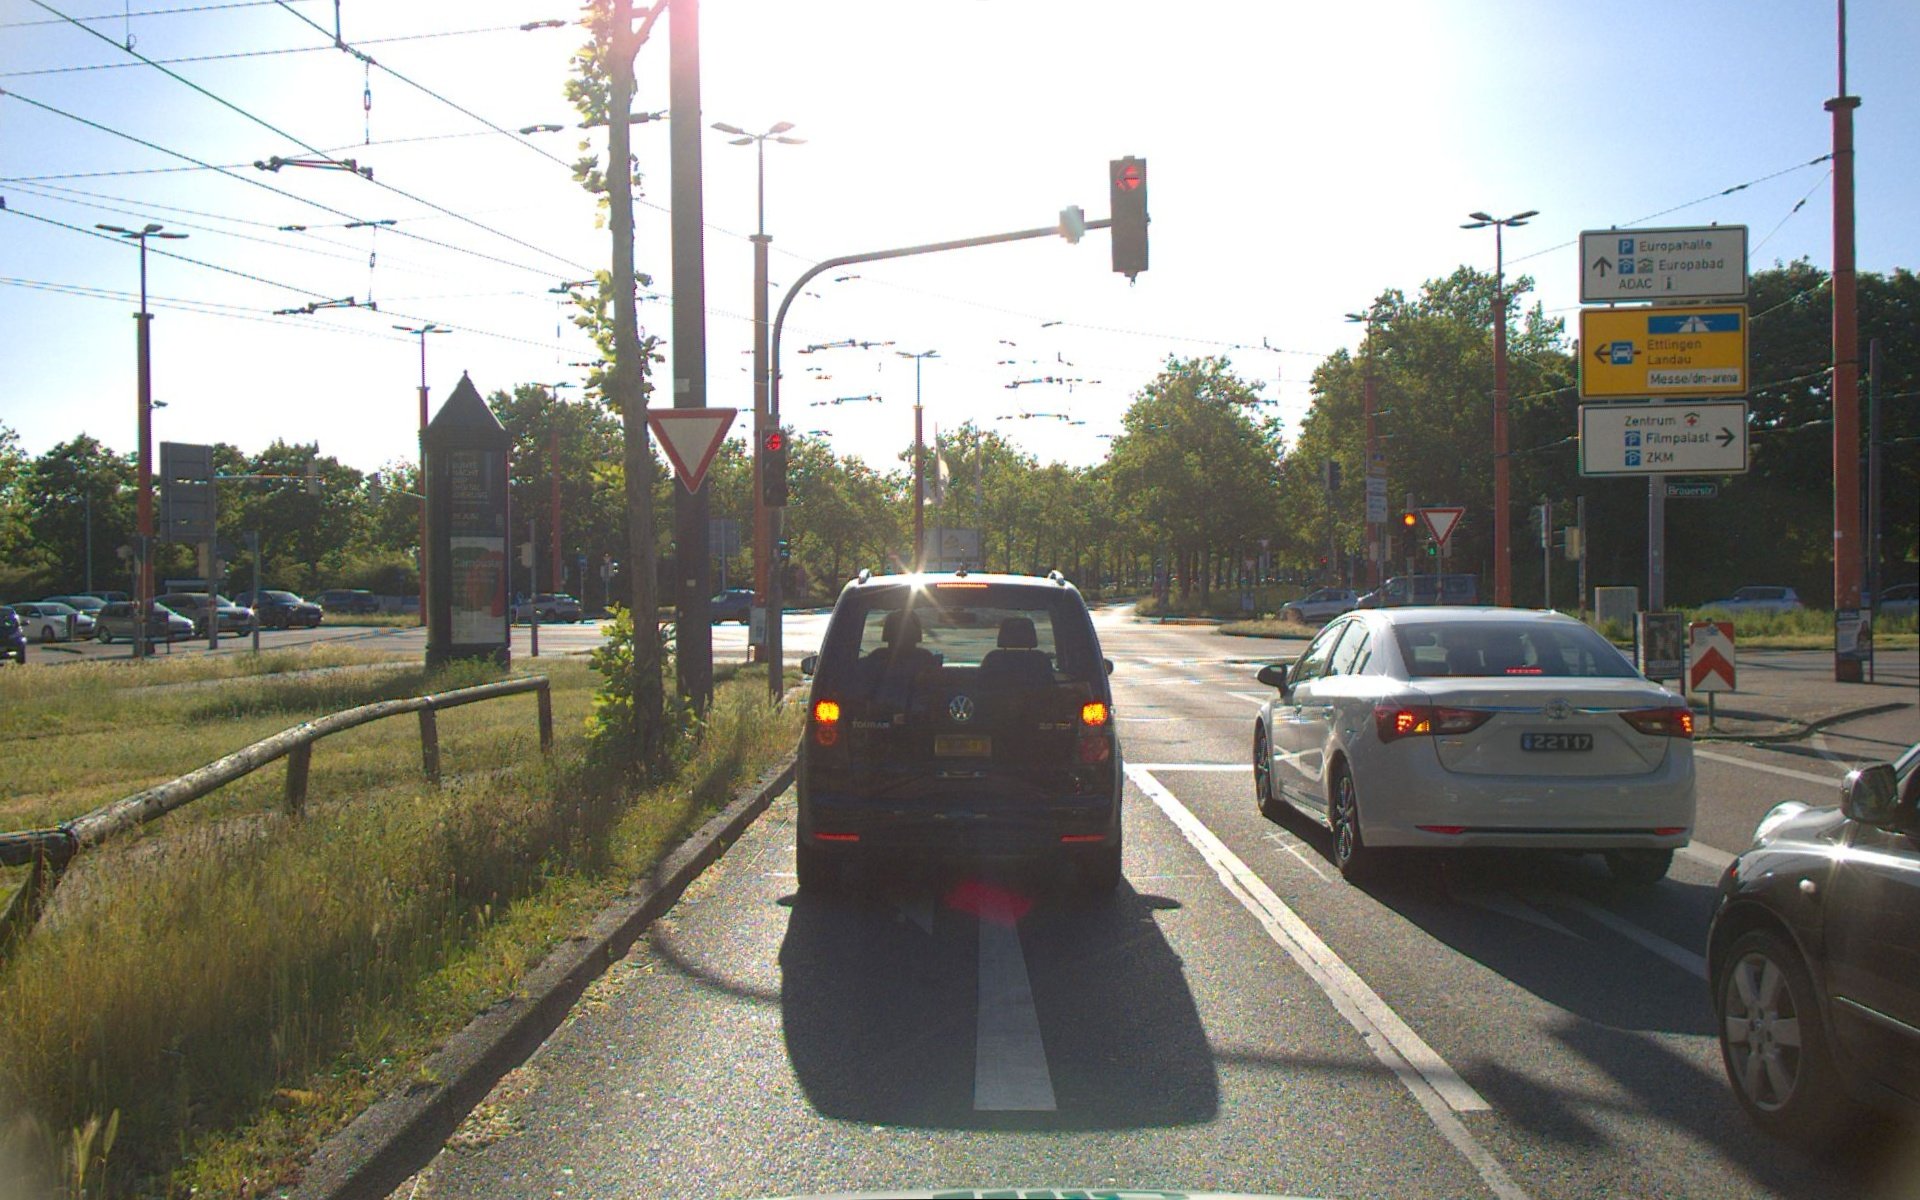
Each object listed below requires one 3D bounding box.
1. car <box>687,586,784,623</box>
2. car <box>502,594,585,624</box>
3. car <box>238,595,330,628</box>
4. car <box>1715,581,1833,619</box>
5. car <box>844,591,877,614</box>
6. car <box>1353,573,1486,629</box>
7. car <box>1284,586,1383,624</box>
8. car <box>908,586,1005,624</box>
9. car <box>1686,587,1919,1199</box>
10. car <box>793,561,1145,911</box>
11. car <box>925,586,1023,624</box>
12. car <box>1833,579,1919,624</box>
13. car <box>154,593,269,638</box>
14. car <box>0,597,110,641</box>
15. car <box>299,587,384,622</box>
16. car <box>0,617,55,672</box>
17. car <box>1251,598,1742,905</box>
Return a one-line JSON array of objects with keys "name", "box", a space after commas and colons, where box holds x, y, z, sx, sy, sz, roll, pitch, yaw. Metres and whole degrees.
[{"name": "car", "box": [-10.246, 0.192, 75.454, 4.039, 1.626, 1.827, 0, 0, 27]}, {"name": "car", "box": [-21.325, 0.467, 84.590, 3.884, 1.466, 1.686, 1, 0, 24]}, {"name": "car", "box": [-29.273, 0.482, 71.588, 3.913, 1.353, 1.694, 0, 0, 31]}, {"name": "car", "box": [29.130, -0.004, 59.295, 3.752, 1.286, 1.602, 1, 0, 25]}, {"name": "car", "box": [-7.644, 0.217, 127.316, 1.874, 1.664, 4.003, 1, 0, 6]}, {"name": "car", "box": [17.216, 0.028, 61.983, 4.483, 2.049, 1.997, 0, 0, 28]}, {"name": "car", "box": [15.043, 0.199, 66.616, 3.662, 1.499, 1.599, 0, 0, 26]}, {"name": "car", "box": [-0.152, 0.202, 70.181, 3.743, 1.549, 1.694, 0, 0, 25]}, {"name": "car", "box": [3.182, 0.745, 3.570, 1.620, 1.526, 3.614, 1, 0, 0]}, {"name": "car", "box": [0.010, 0.633, 9.805, 1.666, 1.650, 3.896, 0, 0, -1]}, {"name": "car", "box": [0.625, 0.223, 74.244, 4.039, 1.672, 1.851, 0, 0, 26]}, {"name": "car", "box": [30.811, 0.043, 54.720, 3.327, 1.483, 1.463, 0, 0, 26]}, {"name": "car", "box": [-29.001, 0.581, 64.120, 3.907, 1.673, 1.999, 0, 0, 24]}, {"name": "car", "box": [-34.716, 0.714, 63.214, 4.091, 1.640, 1.867, 0, 0, 25]}, {"name": "car", "box": [-32.252, 0.233, 86.237, 4.097, 1.673, 1.758, 1, 0, 26]}, {"name": "car", "box": [-26.194, 1.179, 44.865, 1.762, 1.415, 2.848, 0, 0, -1]}, {"name": "car", "box": [2.975, 0.731, 10.132, 1.685, 1.463, 4.198, 1, 0, 1]}]
